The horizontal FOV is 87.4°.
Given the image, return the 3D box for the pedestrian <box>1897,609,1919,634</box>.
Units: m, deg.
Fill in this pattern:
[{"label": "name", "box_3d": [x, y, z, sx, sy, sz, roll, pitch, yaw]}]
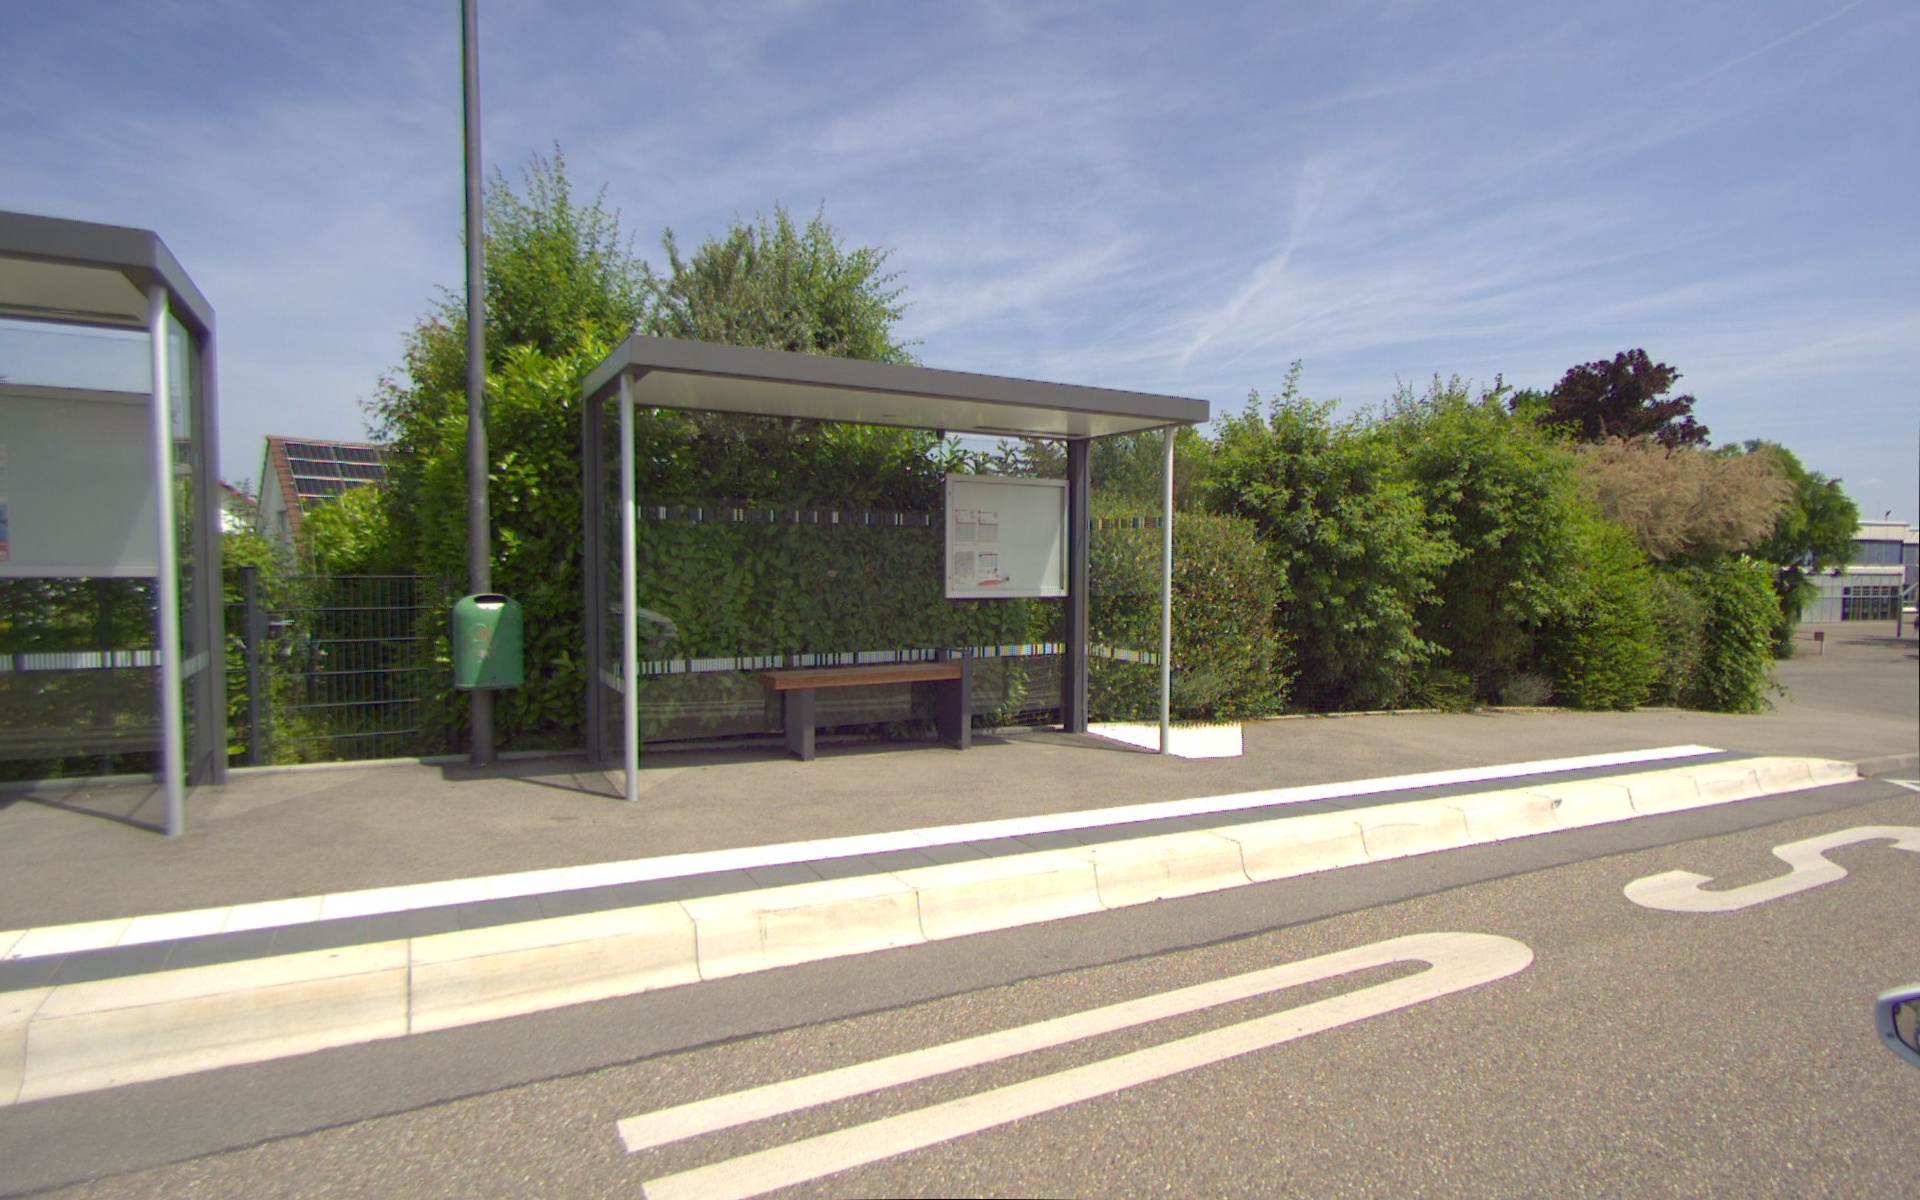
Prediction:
[{"label": "pedestrian", "box_3d": [56.136, 1.239, 59.165, 0.903, 1.442, 1.067, 0, 1, -11]}]
